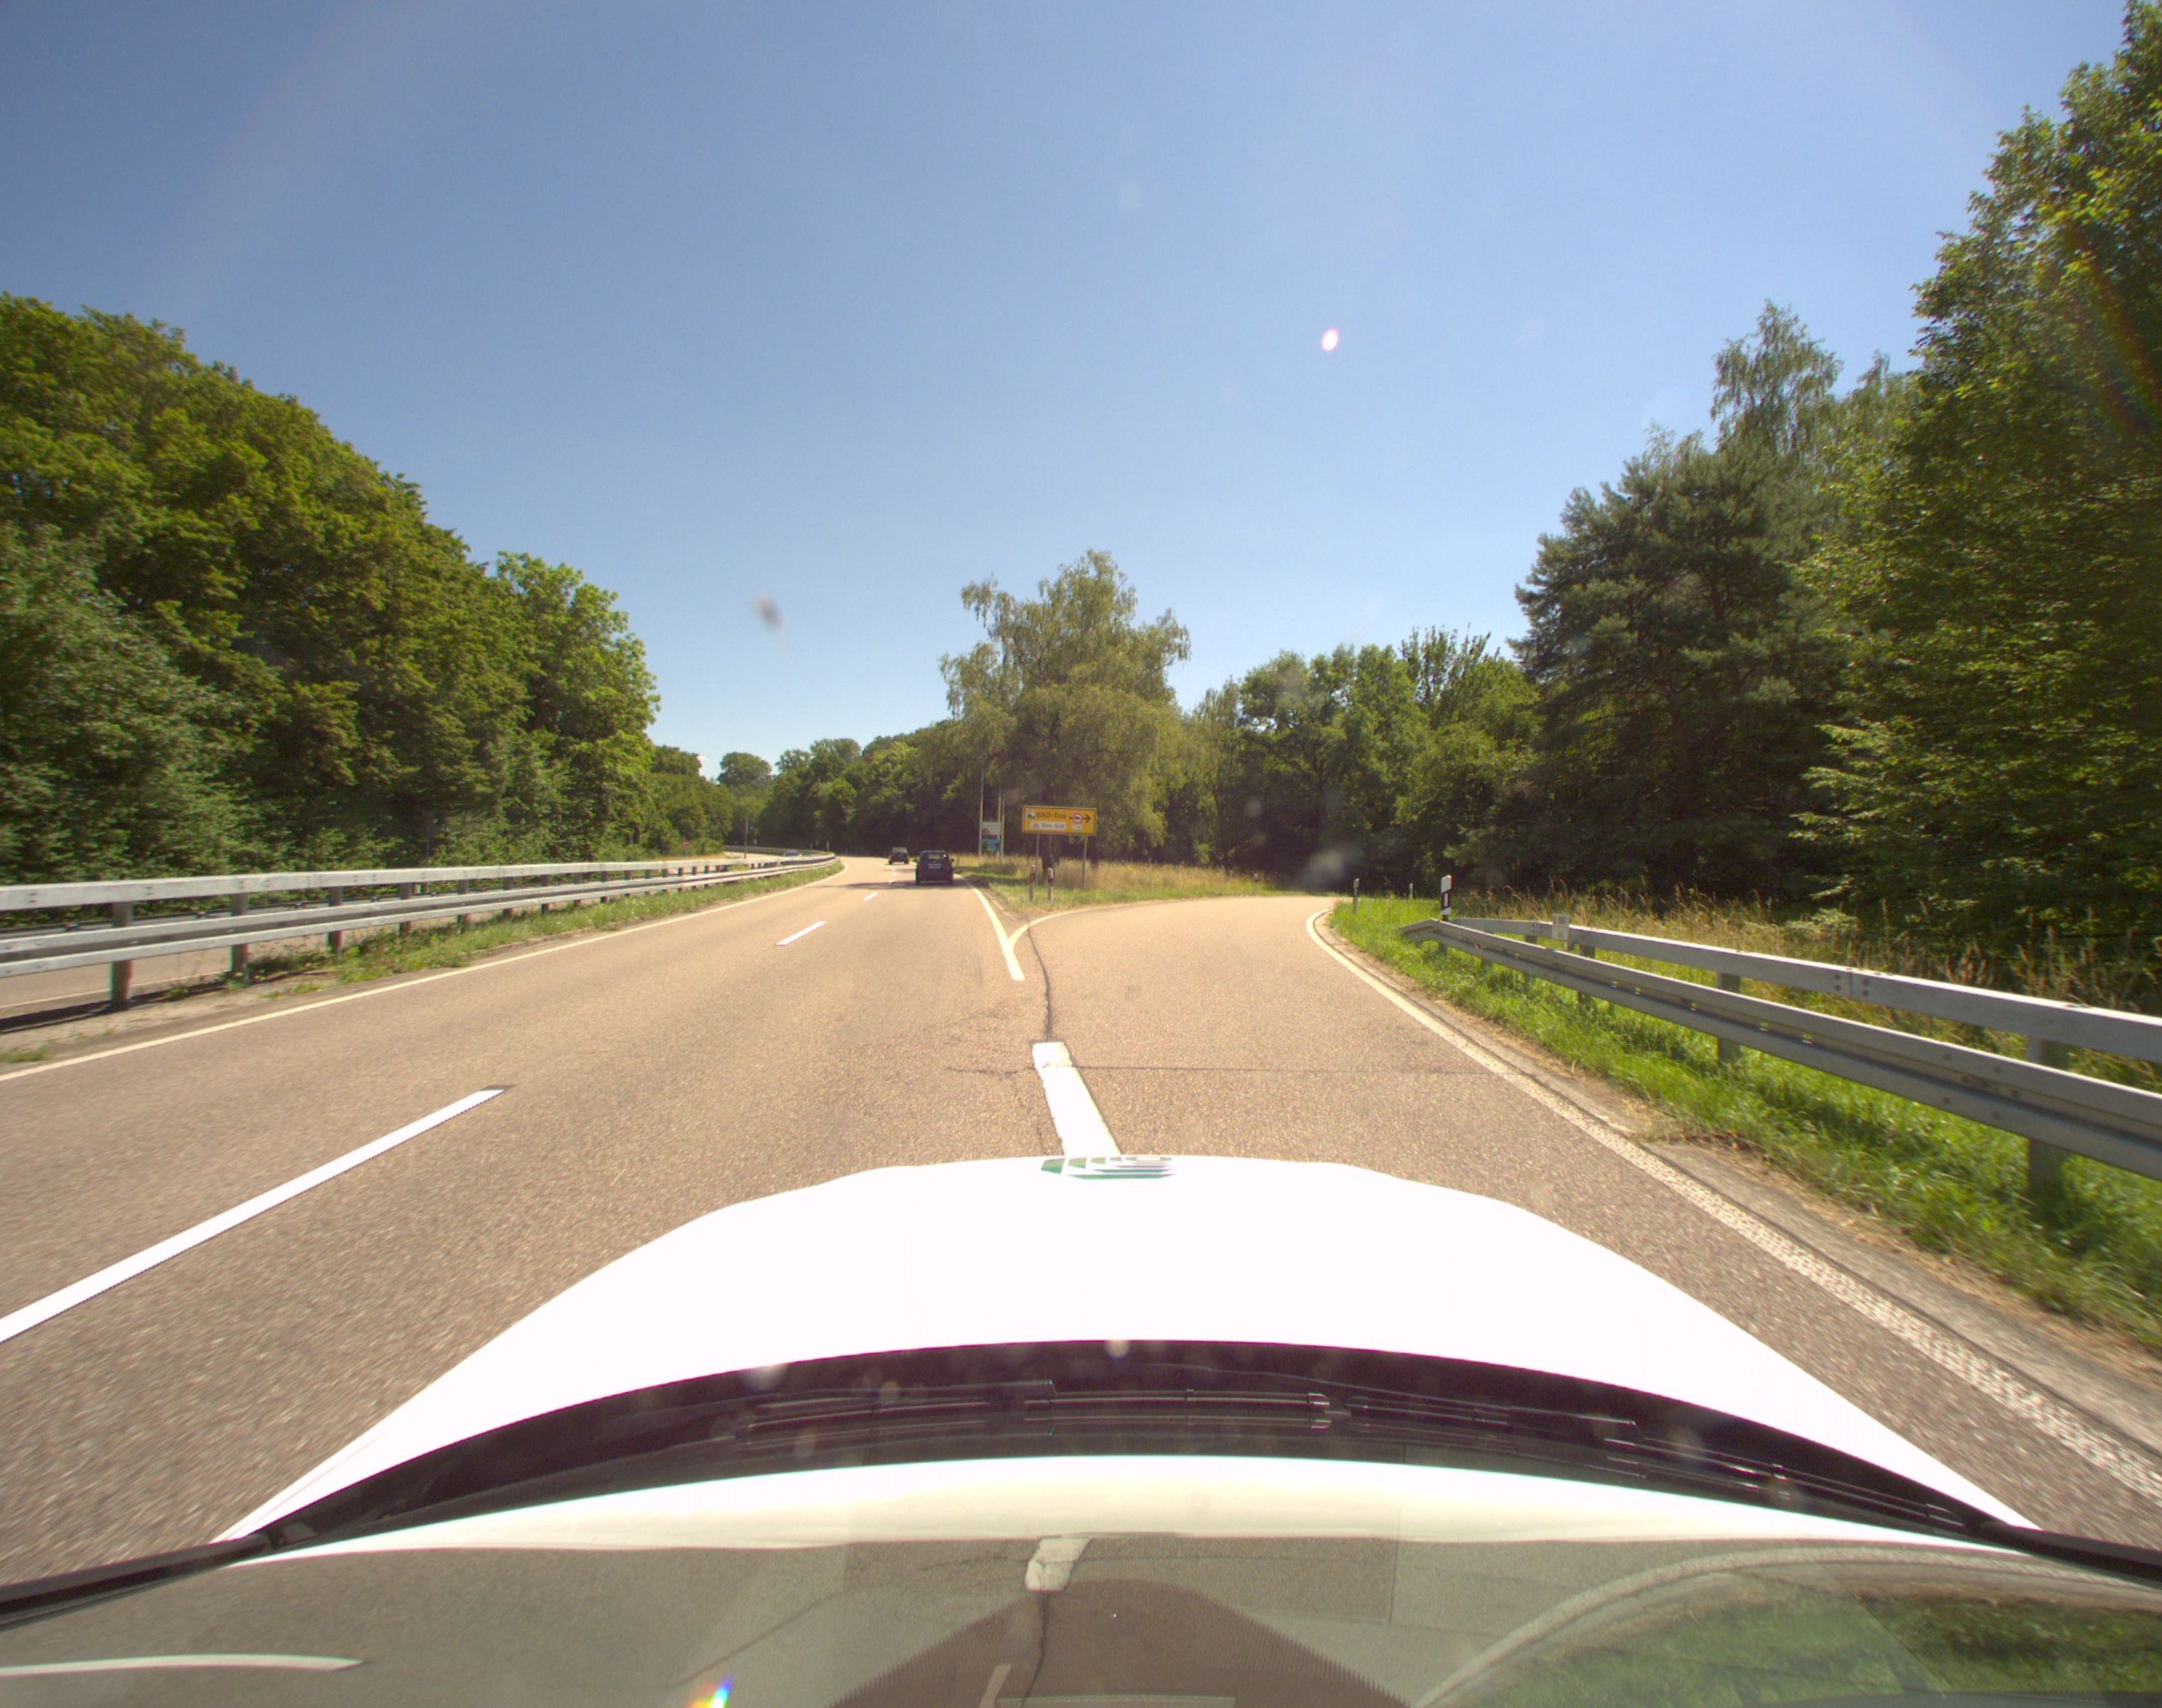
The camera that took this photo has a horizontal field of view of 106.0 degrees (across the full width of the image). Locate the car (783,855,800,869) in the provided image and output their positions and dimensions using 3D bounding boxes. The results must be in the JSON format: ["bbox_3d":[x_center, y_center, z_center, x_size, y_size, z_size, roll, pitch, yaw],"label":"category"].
[{"bbox_3d":[-29.790,0.837,83.843,1.444,1.381,3.825,-1,0,-18],"label":"car"}]

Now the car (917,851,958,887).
[{"bbox_3d":[-6.371,0.636,36.370,1.511,1.501,3.583,-1,0,-5],"label":"car"}]

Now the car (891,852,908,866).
[{"bbox_3d":[-18.094,0.525,81.261,1.527,1.313,3.398,0,0,-14],"label":"car"}]
